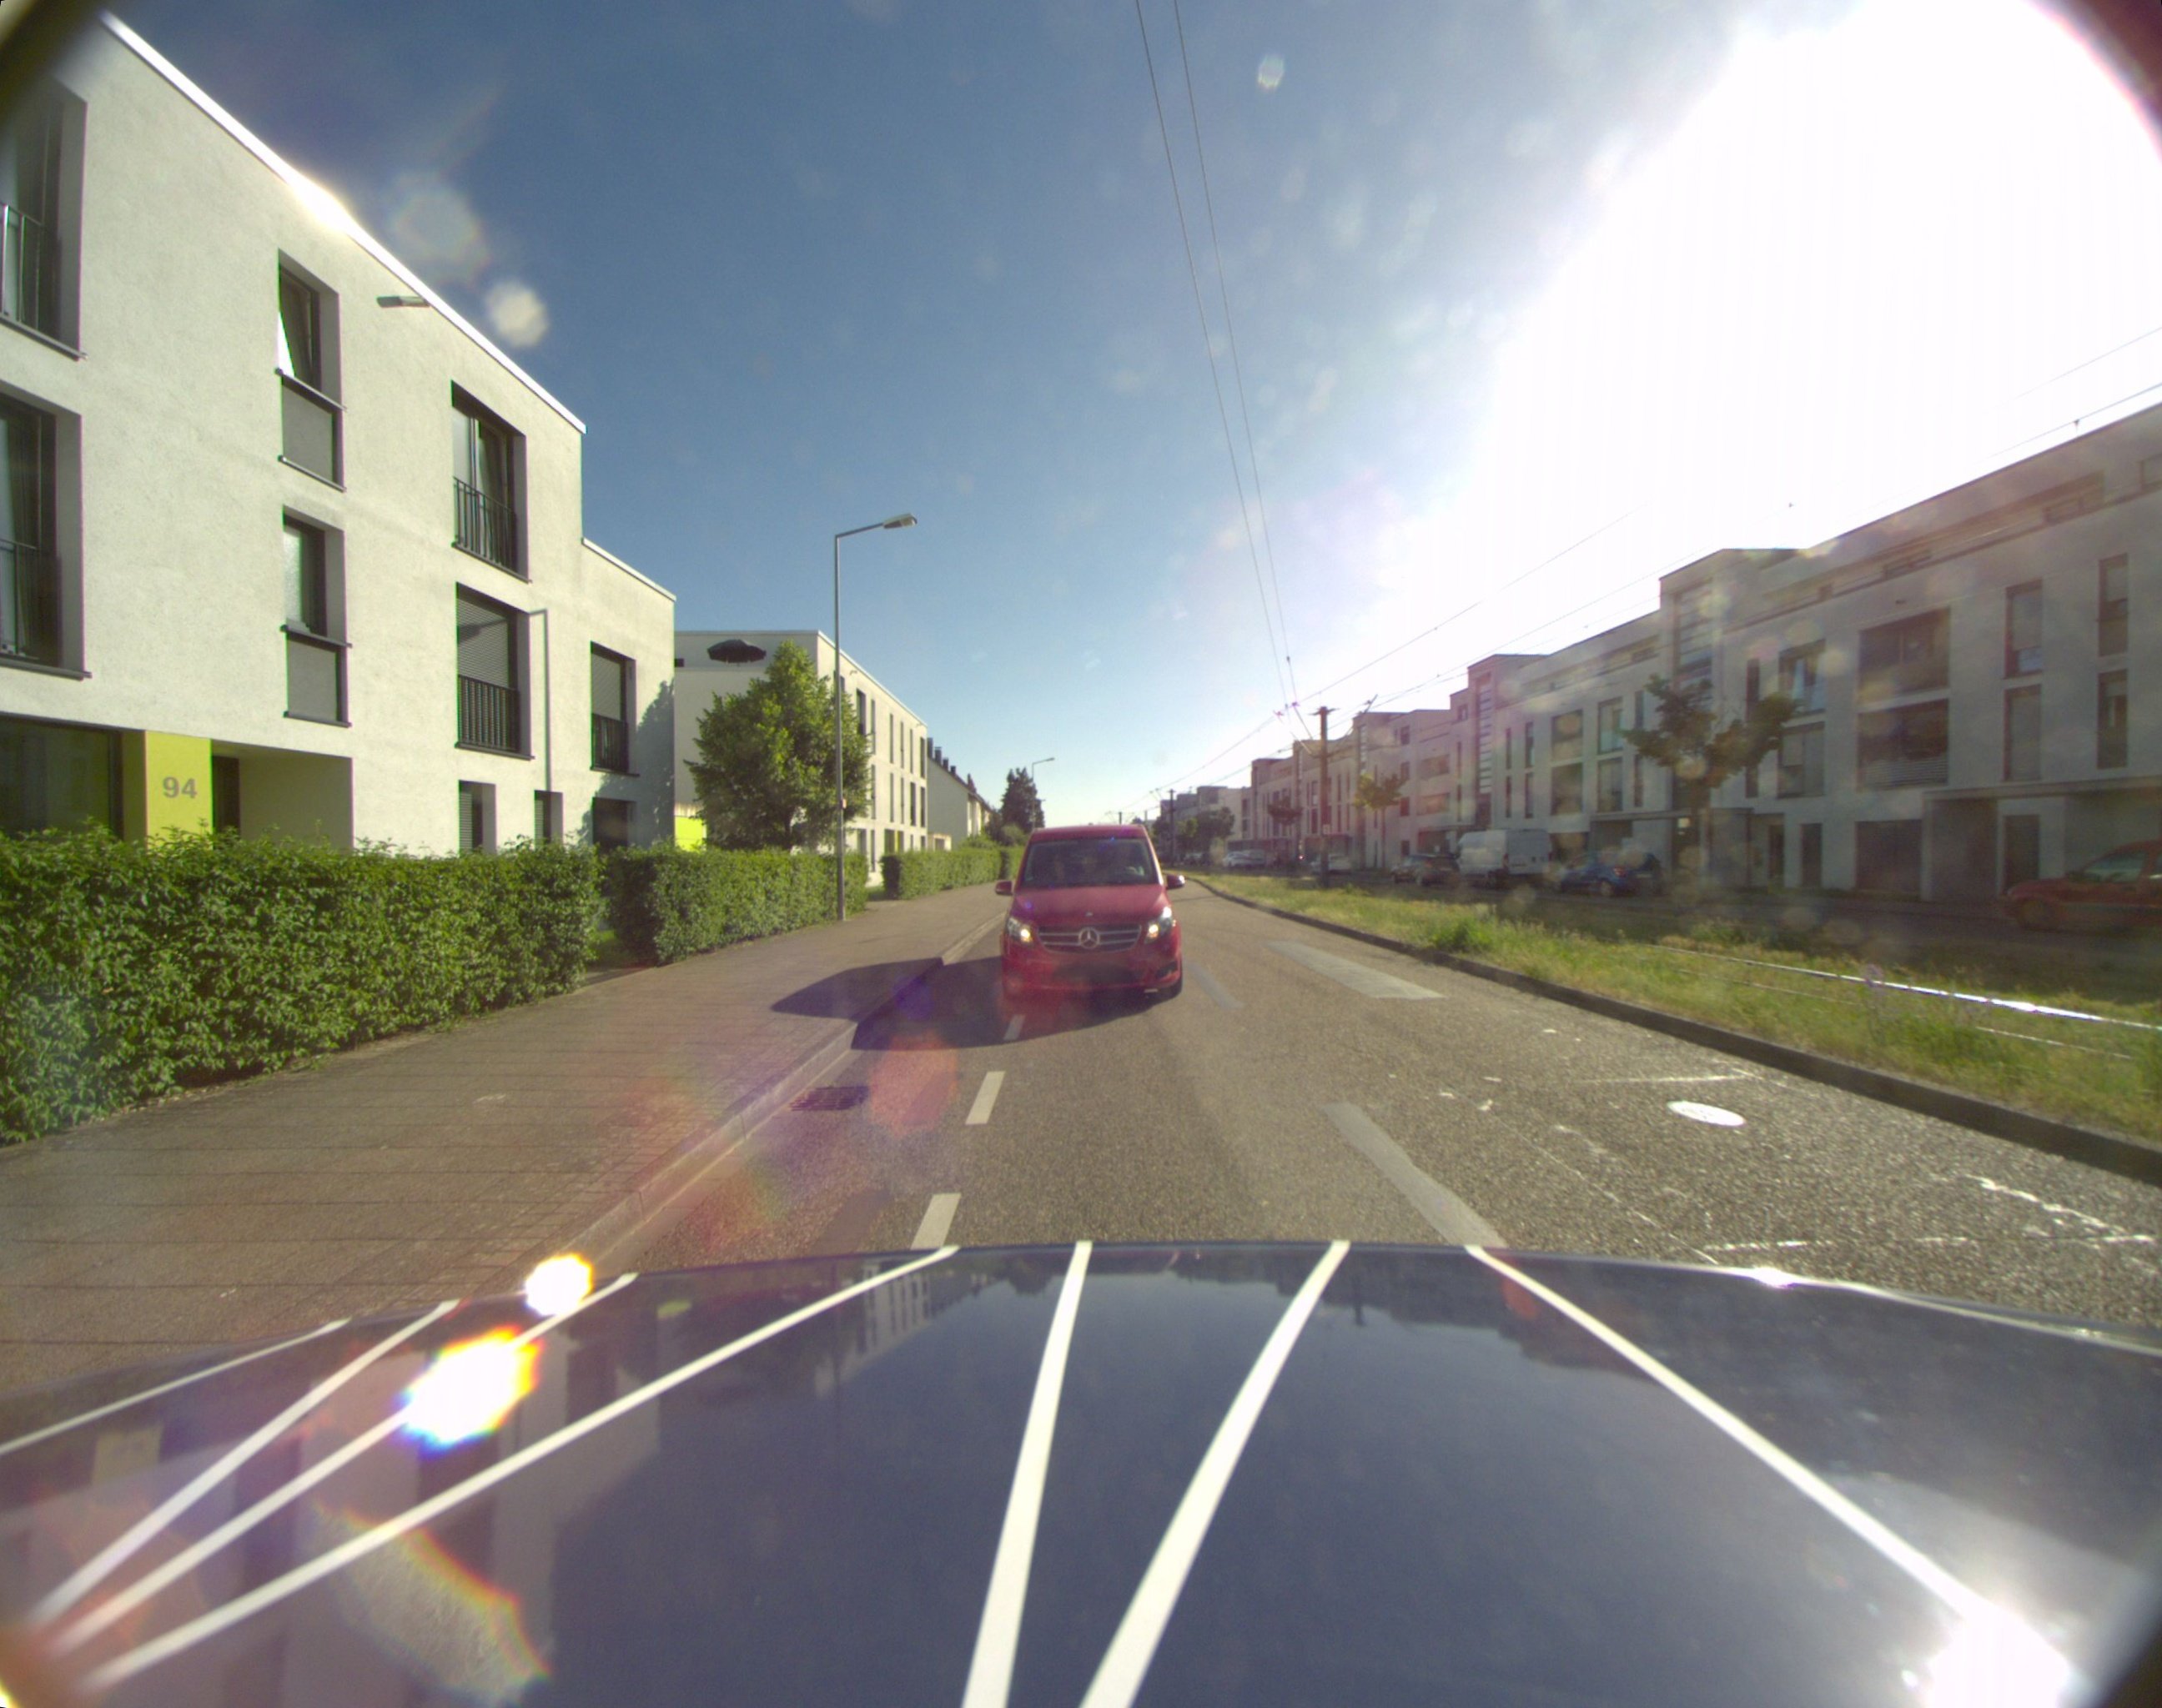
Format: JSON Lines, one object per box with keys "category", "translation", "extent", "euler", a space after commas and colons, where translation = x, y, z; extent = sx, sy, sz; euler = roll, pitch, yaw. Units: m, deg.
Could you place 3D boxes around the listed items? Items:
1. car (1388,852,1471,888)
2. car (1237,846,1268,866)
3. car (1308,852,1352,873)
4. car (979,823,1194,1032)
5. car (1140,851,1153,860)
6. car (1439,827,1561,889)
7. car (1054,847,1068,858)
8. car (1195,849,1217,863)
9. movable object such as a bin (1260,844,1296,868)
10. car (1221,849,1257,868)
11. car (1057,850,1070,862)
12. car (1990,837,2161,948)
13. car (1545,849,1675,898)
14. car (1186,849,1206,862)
{"category": "car", "translation": [14.883, 0.661, 32.708], "extent": [1.792, 1.410, 4.000], "euler": [1, 0, 1]}
{"category": "car", "translation": [16.749, 0.228, 74.254], "extent": [1.766, 1.859, 4.155], "euler": [-2, 0, -4]}
{"category": "car", "translation": [17.558, 0.569, 53.803], "extent": [1.521, 1.424, 4.155], "euler": [-2, 0, -4]}
{"category": "car", "translation": [0.115, 0.695, 9.859], "extent": [1.979, 1.922, 5.205], "euler": [-2, 0, 1]}
{"category": "car", "translation": [11.956, 0.194, 139.413], "extent": [1.766, 1.590, 4.155], "euler": [-2, 0, -4]}
{"category": "car", "translation": [18.190, 0.148, 33.408], "extent": [2.146, 2.430, 5.588], "euler": [-2, 0, -1]}
{"category": "car", "translation": [-2.580, -0.195, 98.386], "extent": [1.700, 1.466, 4.013], "euler": [2, 0, 0]}
{"category": "car", "translation": [15.404, 0.258, 93.941], "extent": [1.766, 1.590, 4.155], "euler": [-2, 0, -4]}
{"category": "movable object such as a bin", "translation": [17.156, 0.172, 66.305], "extent": [1.766, 1.926, 4.155], "euler": [-2, 0, -4]}
{"category": "car", "translation": [13.984, 0.395, 67.444], "extent": [1.999, 1.586, 4.645], "euler": [2, 0, -2]}
{"category": "car", "translation": [-2.458, 0.206, 105.571], "extent": [1.700, 1.604, 4.013], "euler": [2, 0, 0]}
{"category": "car", "translation": [18.572, 0.615, 12.833], "extent": [1.885, 1.785, 3.837], "euler": [-2, 0, 1]}
{"category": "car", "translation": [18.287, 0.629, 26.496], "extent": [1.829, 1.528, 3.842], "euler": [-2, 0, 0]}
{"category": "car", "translation": [15.013, 0.183, 99.574], "extent": [1.766, 1.590, 4.155], "euler": [-2, 0, -4]}
